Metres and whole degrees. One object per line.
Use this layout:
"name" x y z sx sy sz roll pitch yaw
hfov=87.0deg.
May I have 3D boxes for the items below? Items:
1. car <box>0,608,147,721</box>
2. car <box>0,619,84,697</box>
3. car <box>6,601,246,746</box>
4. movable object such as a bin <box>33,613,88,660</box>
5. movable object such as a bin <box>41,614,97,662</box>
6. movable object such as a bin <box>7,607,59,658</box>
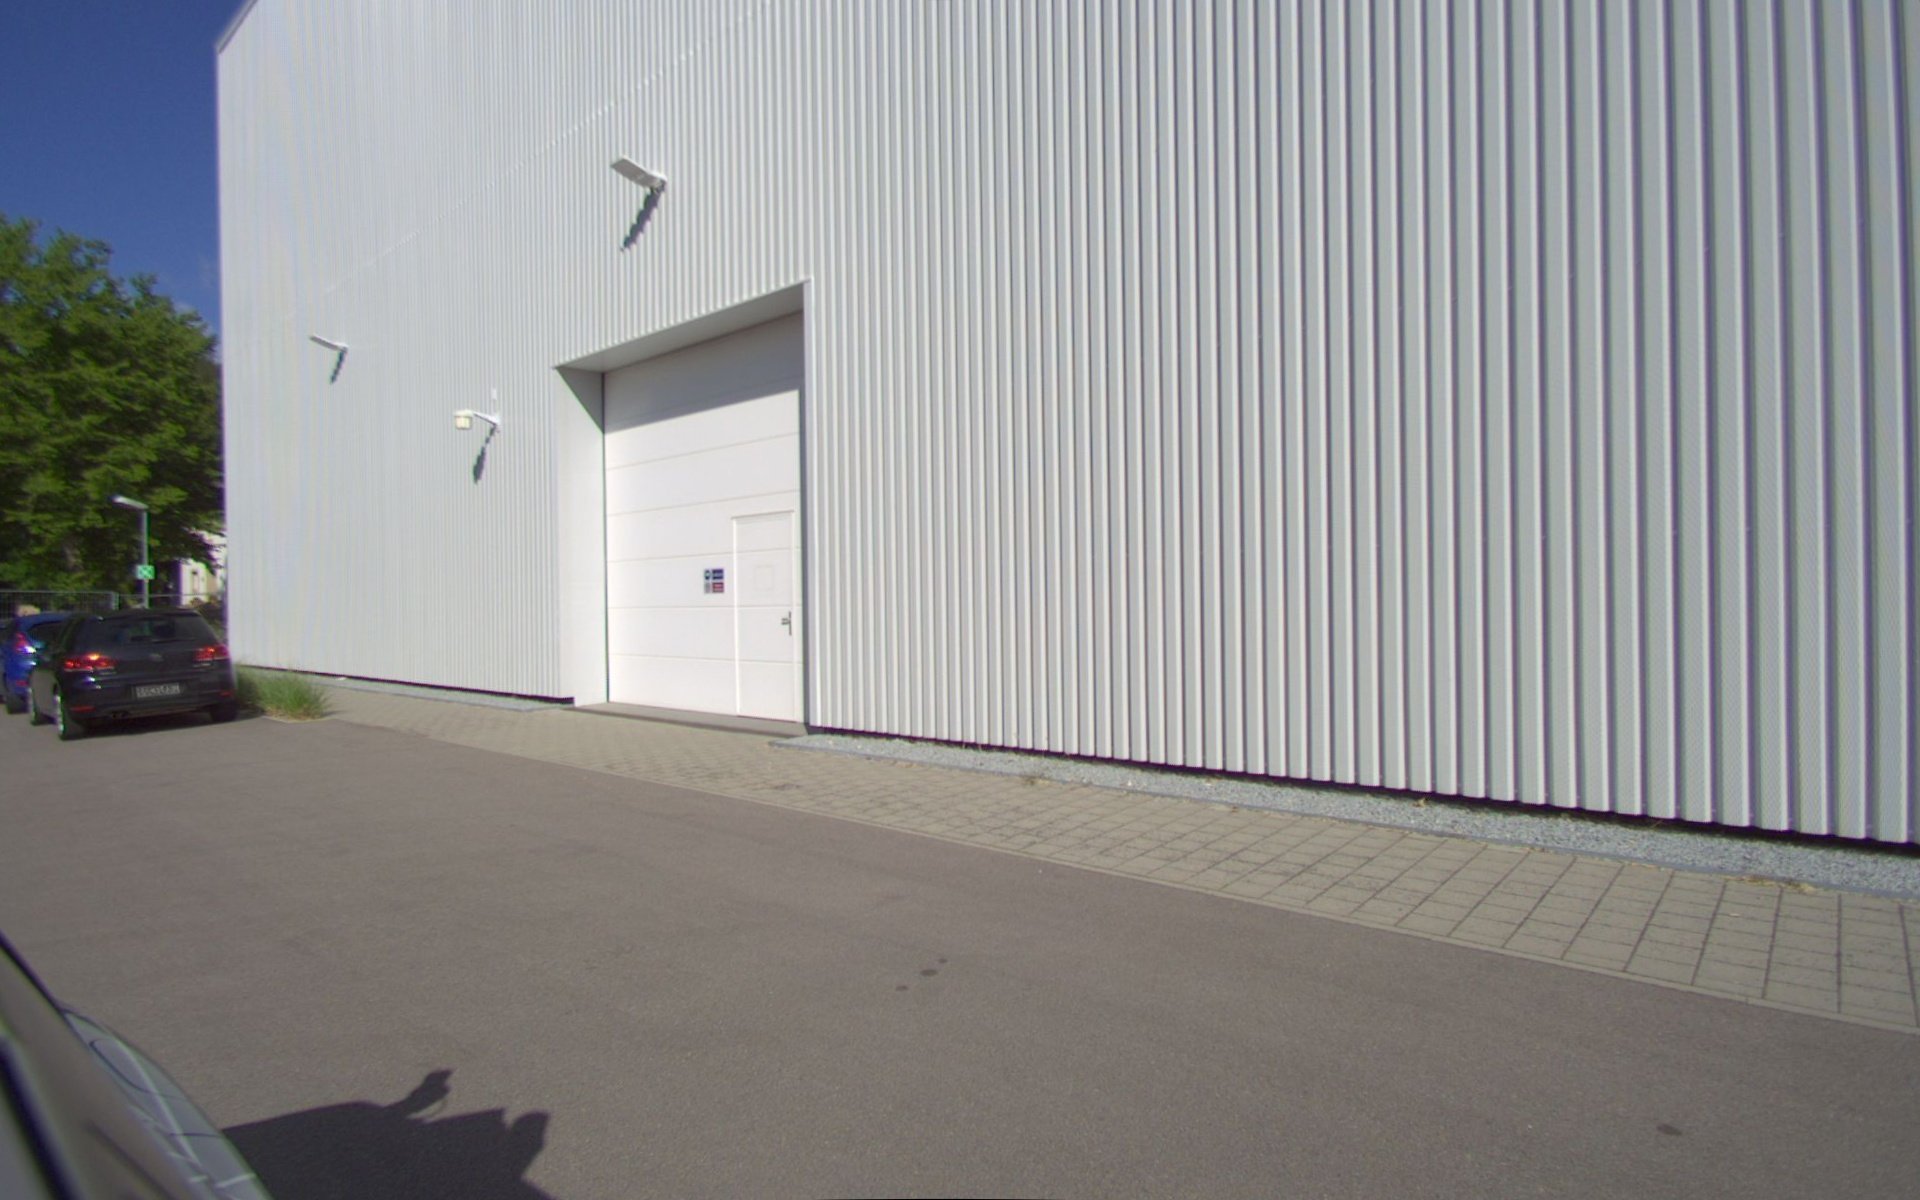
"car" -14.633 0.956 16.289 4.092 1.511 1.614 -1 2 40
"car" -18.741 1.093 19.859 4.051 1.371 1.756 -1 0 41
"car" -10.903 0.837 13.124 4.292 1.511 1.736 -1 1 42
"movable object such as a bin" -29.474 1.191 33.168 1.228 1.450 1.080 0 2 36
"movable object such as a bin" -28.448 1.207 32.317 1.228 1.443 1.080 0 2 36
"movable object such as a bin" -31.204 1.075 34.066 1.228 1.609 1.080 1 1 36
